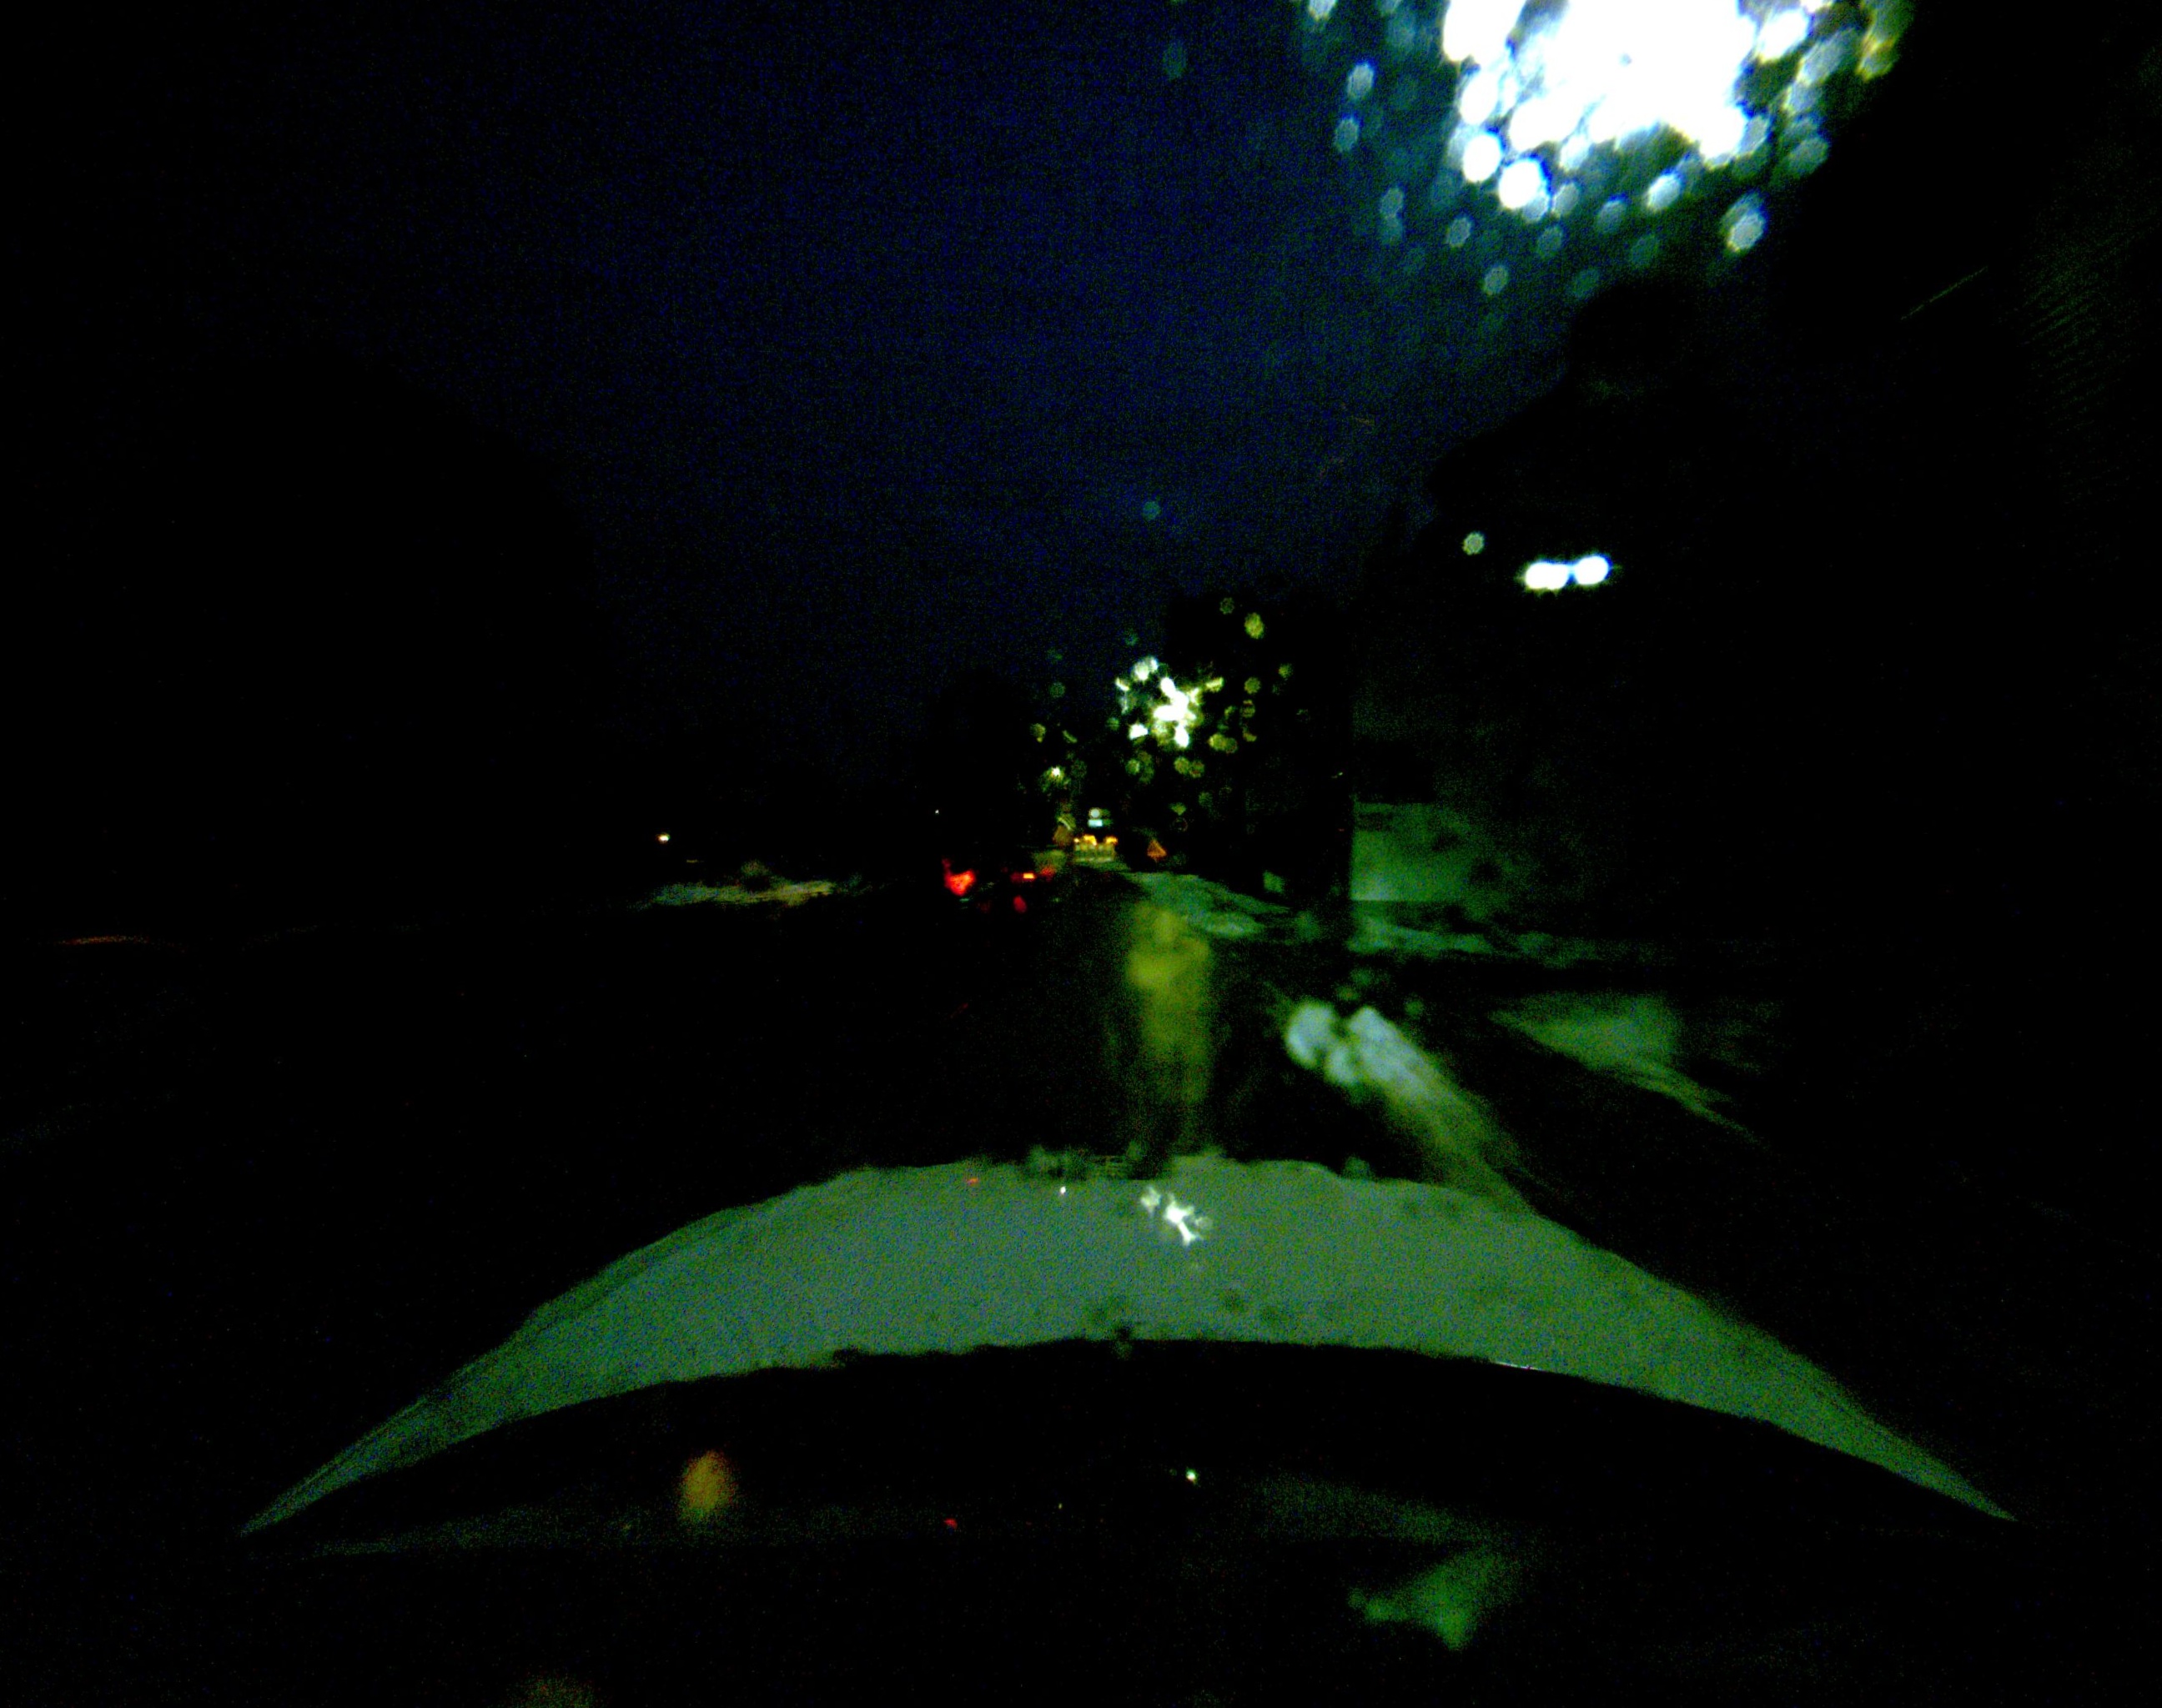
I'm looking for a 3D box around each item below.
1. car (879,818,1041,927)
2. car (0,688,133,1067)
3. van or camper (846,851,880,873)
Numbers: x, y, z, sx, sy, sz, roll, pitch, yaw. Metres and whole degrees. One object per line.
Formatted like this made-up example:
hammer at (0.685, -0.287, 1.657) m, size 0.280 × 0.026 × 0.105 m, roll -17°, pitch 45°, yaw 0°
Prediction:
car at (-2.400, 0.318, 15.412) m, size 1.834 × 1.796 × 3.543 m, roll -1°, pitch 0°, yaw -30°
car at (-10.098, -0.031, 4.298) m, size 6.131 × 2.554 × 1.981 m, roll 5°, pitch -3°, yaw -29°
van or camper at (-11.891, 0.463, 44.406) m, size 1.288 × 1.101 × 3.246 m, roll 1°, pitch -3°, yaw -24°
